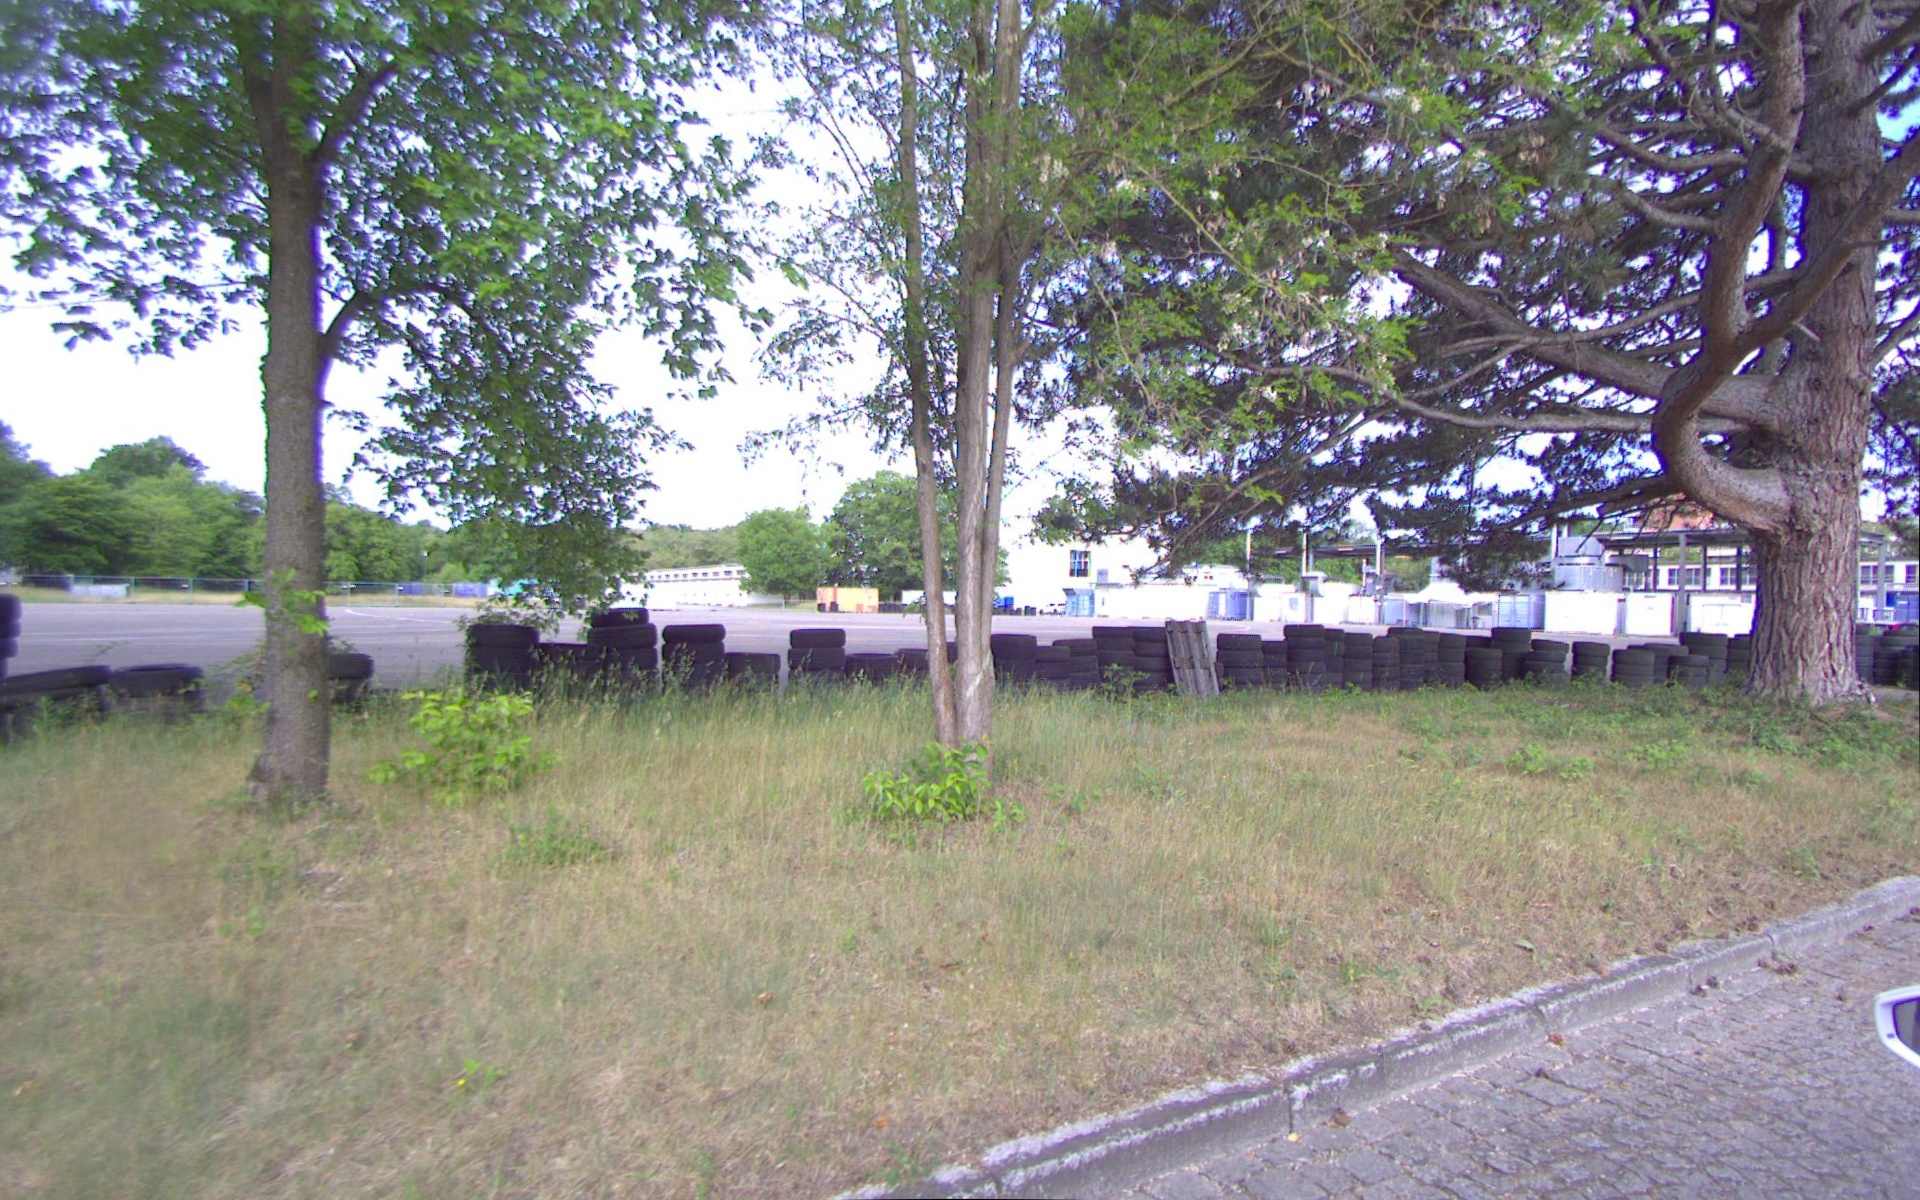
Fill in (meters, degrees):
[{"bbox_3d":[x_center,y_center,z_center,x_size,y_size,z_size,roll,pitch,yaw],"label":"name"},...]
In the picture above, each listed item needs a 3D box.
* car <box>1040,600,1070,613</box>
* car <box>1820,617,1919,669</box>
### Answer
[{"bbox_3d":[11.829,0.756,124.959,1.612,1.553,3.945,1,0,-31],"label":"car"},{"bbox_3d":[28.278,1.296,30.687,3.440,1.472,1.762,1,0,-25],"label":"car"}]
